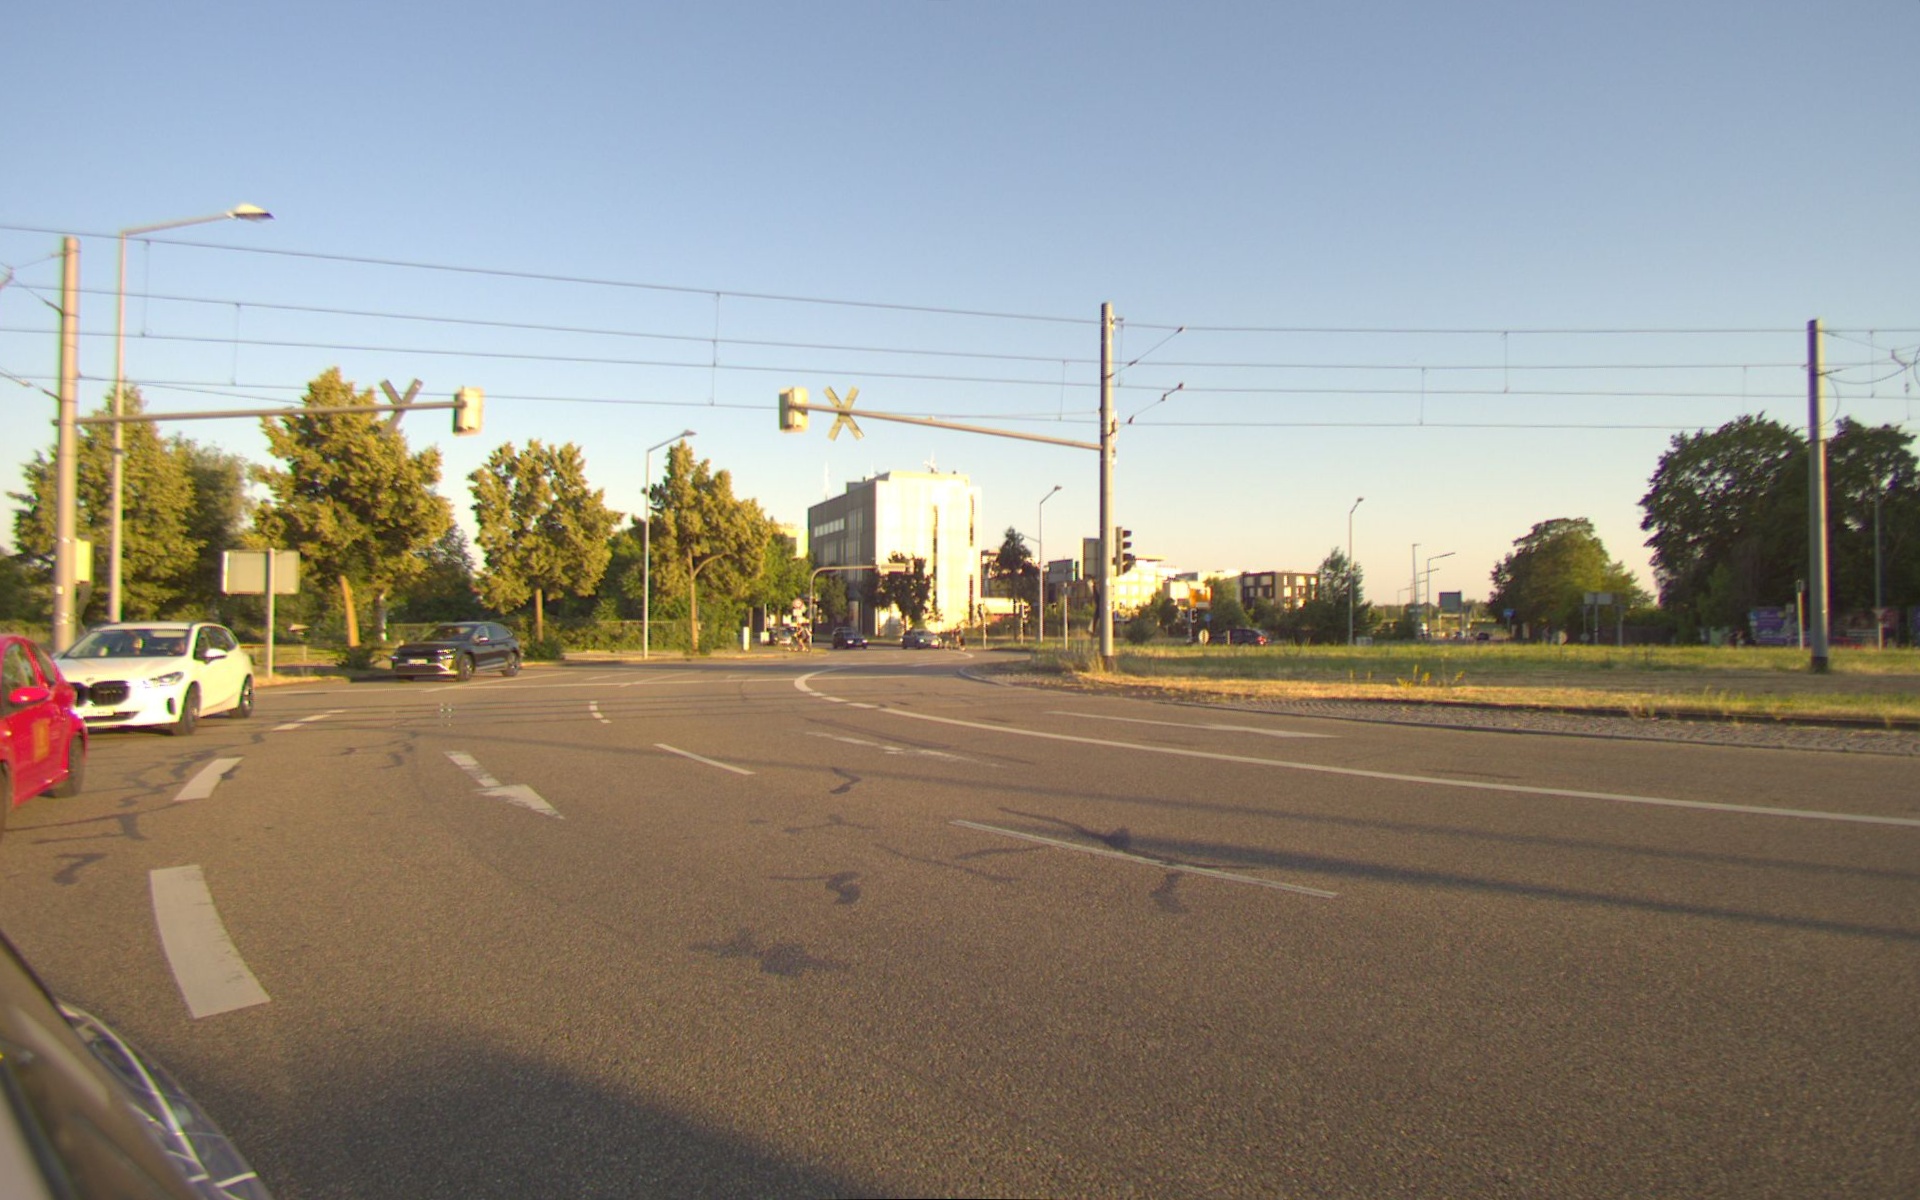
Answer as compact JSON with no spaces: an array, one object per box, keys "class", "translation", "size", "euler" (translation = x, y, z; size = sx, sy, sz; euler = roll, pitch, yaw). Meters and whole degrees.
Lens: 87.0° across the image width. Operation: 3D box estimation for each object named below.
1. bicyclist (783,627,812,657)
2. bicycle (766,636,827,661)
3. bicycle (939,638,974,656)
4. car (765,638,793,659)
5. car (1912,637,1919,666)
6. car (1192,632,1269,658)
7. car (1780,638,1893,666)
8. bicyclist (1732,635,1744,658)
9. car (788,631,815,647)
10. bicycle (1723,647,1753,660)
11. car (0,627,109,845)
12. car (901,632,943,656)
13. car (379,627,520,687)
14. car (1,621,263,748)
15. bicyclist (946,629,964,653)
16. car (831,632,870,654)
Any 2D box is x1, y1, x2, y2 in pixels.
[{"class":"bicyclist","translation":[-9.752,2.526,60.747],"size":[1.392,1.762,1.127],"euler":[1,-2,-27]},{"class":"bicycle","translation":[-9.796,2.893,60.731],"size":[3.478,1.406,1.127],"euler":[1,-2,-27]},{"class":"bicycle","translation":[-0.254,3.236,70.141],"size":[2.289,1.188,0.813],"euler":[1,-2,-30]},{"class":"car","translation":[-15.836,4.217,88.560],"size":[1.841,1.763,3.864],"euler":[1,-2,-19]},{"class":"car","translation":[49.626,2.514,49.388],"size":[1.914,1.443,4.326],"euler":[0,-2,-6]},{"class":"car","translation":[16.332,2.692,61.171],"size":[4.236,1.512,1.824],"euler":[-1,-2,29]},{"class":"car","translation":[48.624,2.874,56.280],"size":[1.914,1.443,4.601],"euler":[0,-2,-6]},{"class":"bicyclist","translation":[49.321,2.955,64.164],"size":[0.445,1.408,0.470],"euler":[-1,-2,24]},{"class":"car","translation":[-16.616,4.097,105.952],"size":[1.841,1.637,4.206],"euler":[1,-2,-22]},{"class":"bicycle","translation":[49.317,3.372,64.165],"size":[1.410,0.797,0.470],"euler":[-1,-2,24]},{"class":"car","translation":[-7.662,0.926,7.294],"size":[1.666,1.432,4.223],"euler":[0,-1,-31]},{"class":"car","translation":[-2.803,3.188,73.901],"size":[1.841,1.637,4.206],"euler":[1,-2,-19]},{"class":"car","translation":[-14.171,1.568,28.391],"size":[1.803,1.570,4.213],"euler":[0,-2,0]},{"class":"car","translation":[-11.754,1.129,14.729],"size":[1.730,1.570,4.228],"euler":[1,-3,-22]},{"class":"bicyclist","translation":[-0.320,2.865,70.105],"size":[0.983,1.645,0.813],"euler":[1,-2,-30]},{"class":"car","translation":[-8.647,3.394,79.794],"size":[1.840,1.637,4.206],"euler":[1,-2,-25]}]
